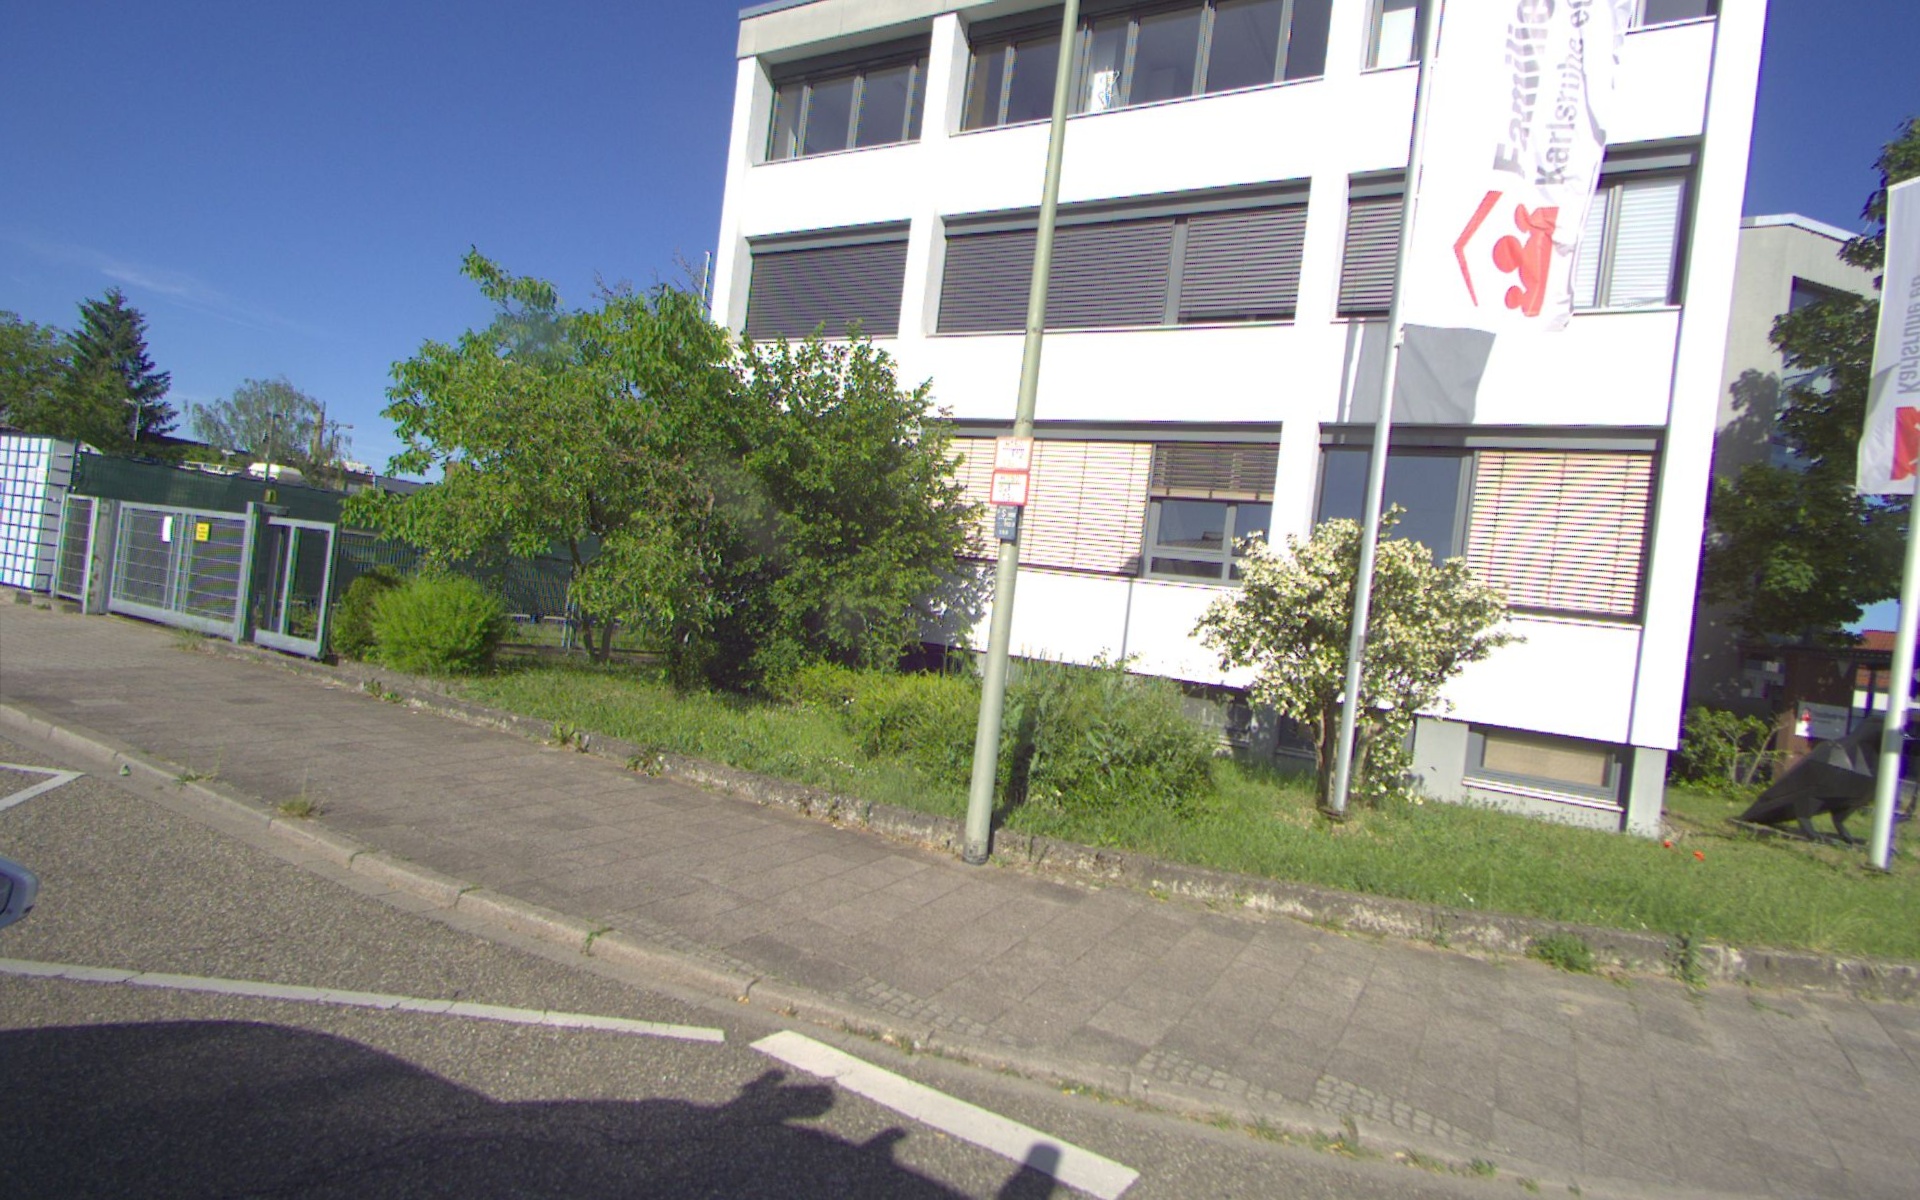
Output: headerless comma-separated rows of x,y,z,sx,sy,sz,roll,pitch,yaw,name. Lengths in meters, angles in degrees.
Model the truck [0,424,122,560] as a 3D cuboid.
-30.941,-3.640,30.771,2.783,3.816,7.393,7,-1,26,truck
